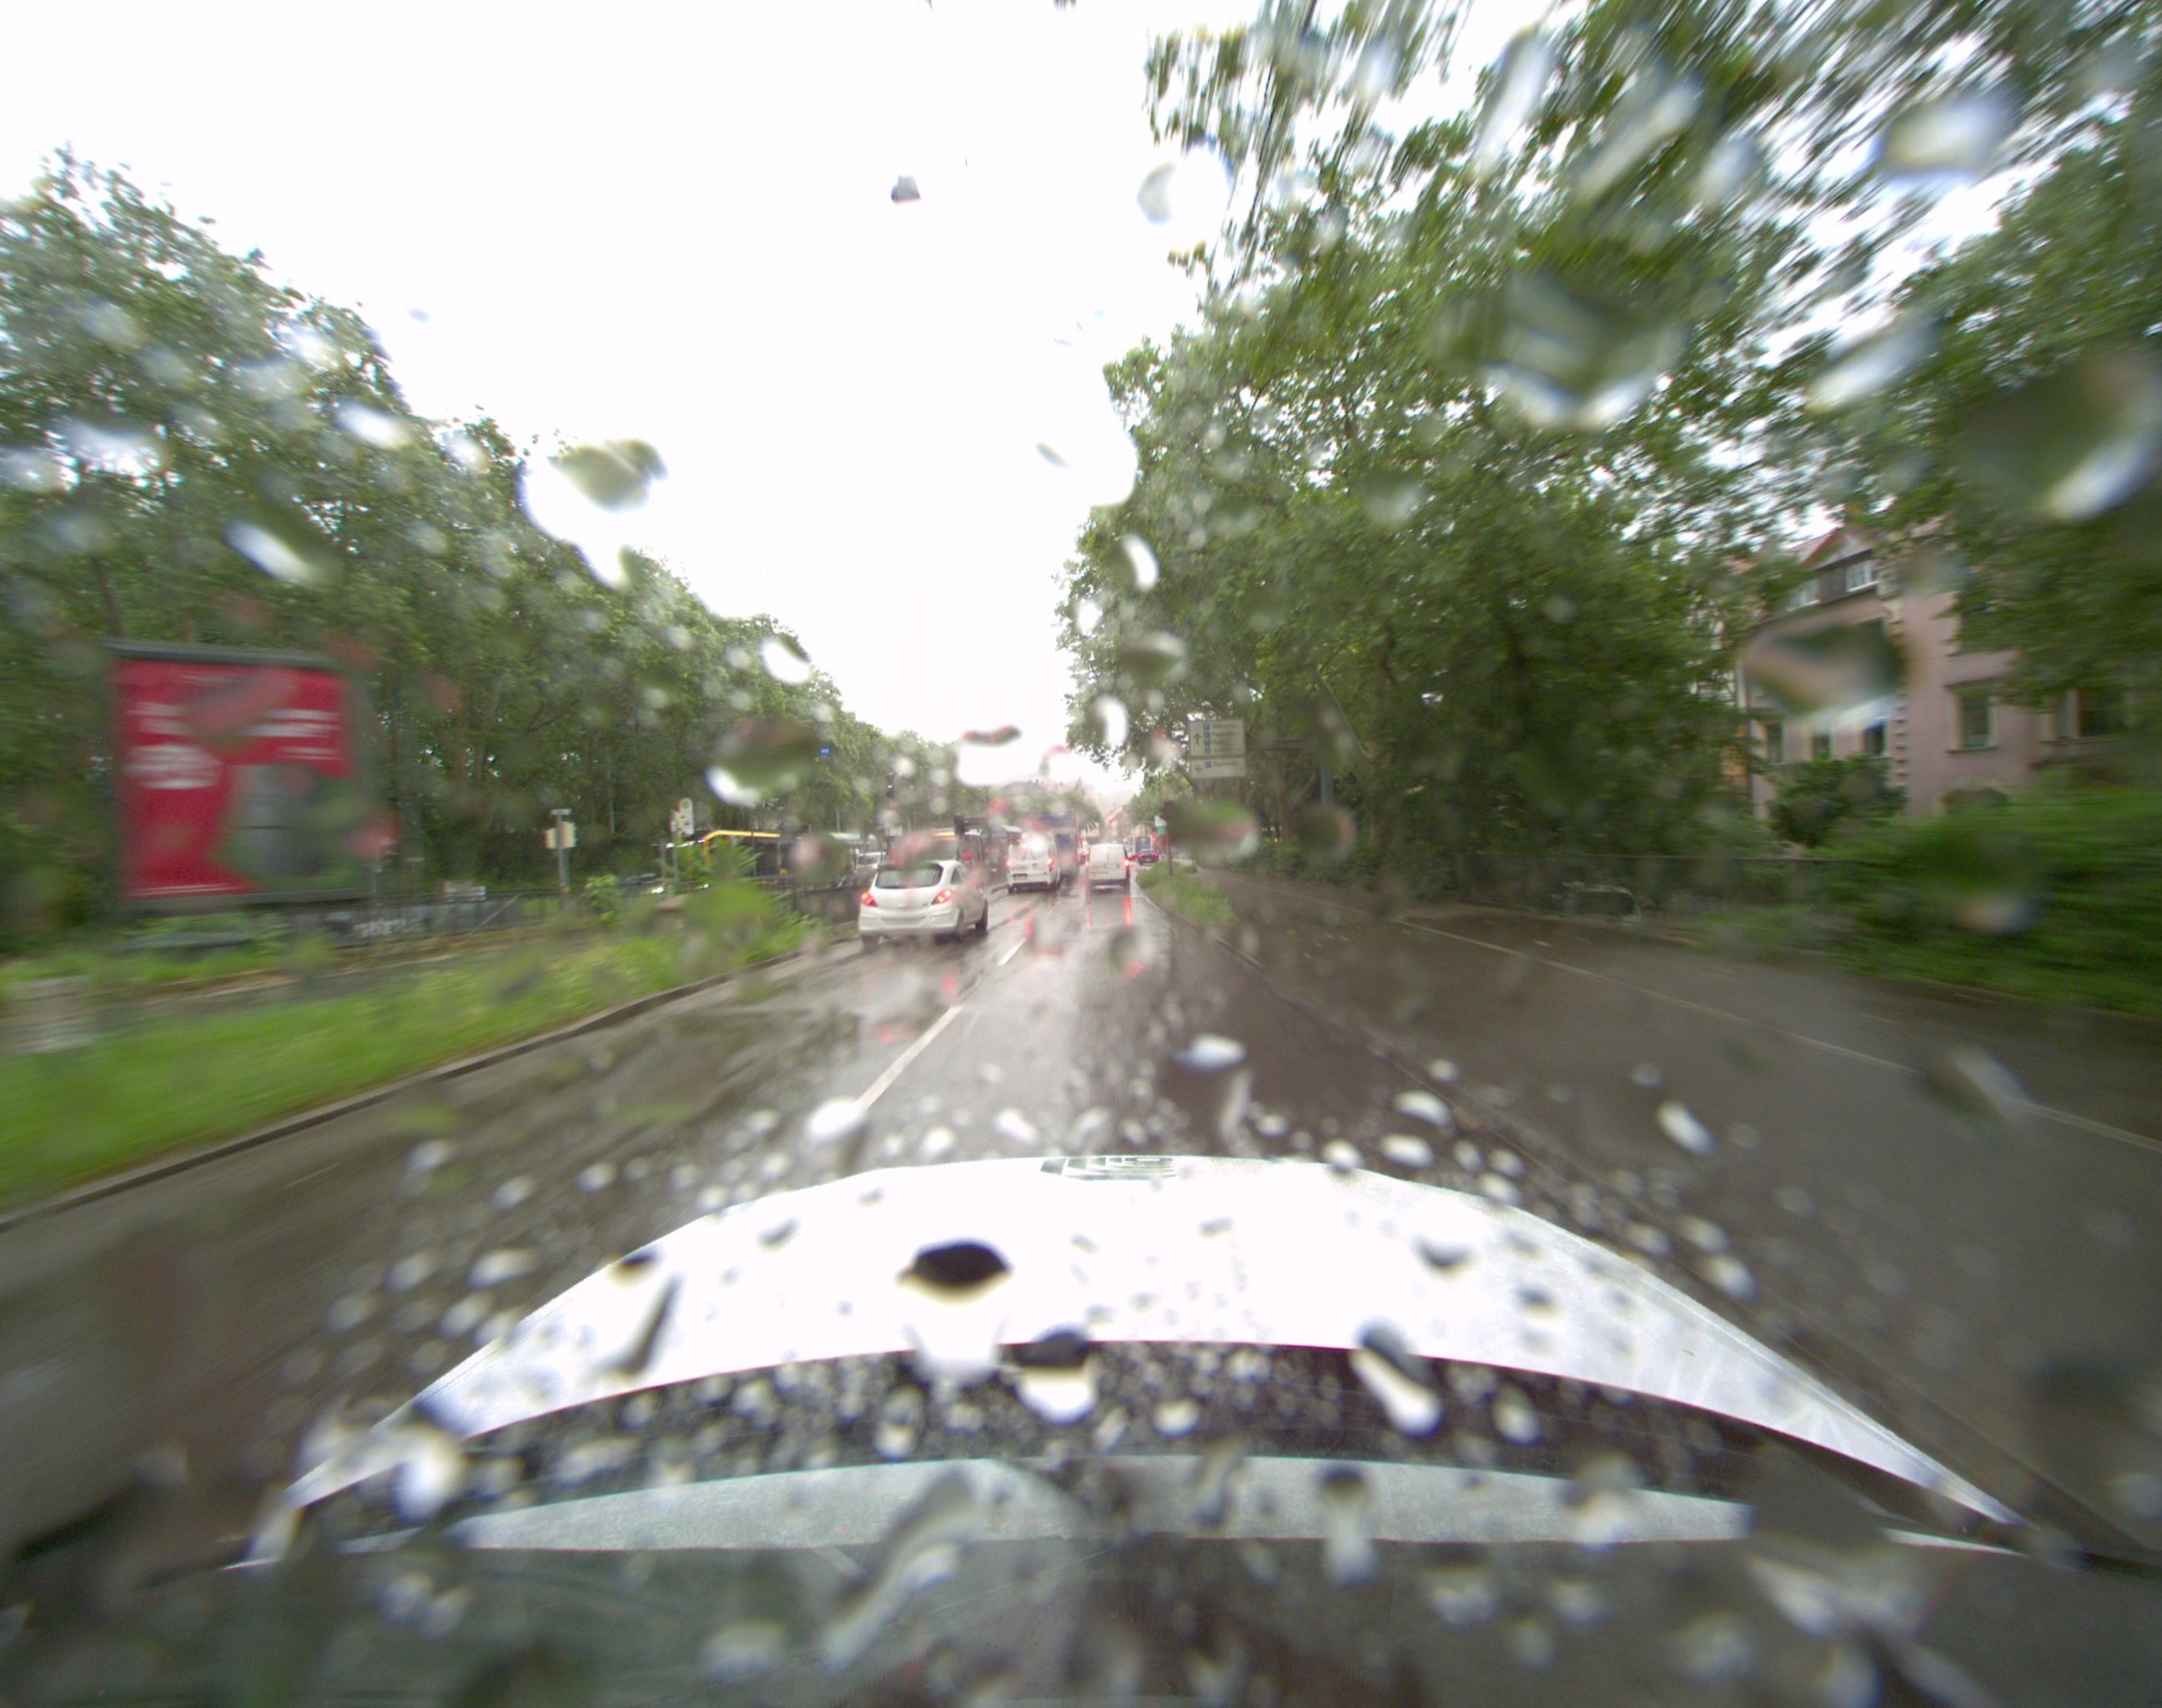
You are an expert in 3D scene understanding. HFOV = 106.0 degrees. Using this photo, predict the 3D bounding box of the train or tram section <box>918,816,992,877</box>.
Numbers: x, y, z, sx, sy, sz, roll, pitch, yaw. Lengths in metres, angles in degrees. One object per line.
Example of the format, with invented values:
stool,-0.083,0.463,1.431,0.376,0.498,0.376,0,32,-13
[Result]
train or tram section,-7.675,-0.522,50.802,2.951,3.285,8.363,-4,1,1

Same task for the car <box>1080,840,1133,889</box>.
car,1.018,0.389,32.522,1.951,1.777,3.571,-2,0,2

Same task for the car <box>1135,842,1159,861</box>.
car,6.087,-0.241,74.999,1.983,1.542,4.007,-3,1,6

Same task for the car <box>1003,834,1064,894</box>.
car,-1.901,0.393,34.382,1.986,2.262,5.291,-2,0,2

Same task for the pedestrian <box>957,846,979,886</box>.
pedestrian,-4.846,0.507,35.063,0.787,1.714,0.771,-1,-1,1

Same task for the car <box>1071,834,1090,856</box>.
car,0.000,-1.008,94.682,1.986,2.442,4.614,-1,0,2

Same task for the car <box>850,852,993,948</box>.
car,-2.777,0.752,15.033,1.719,1.479,3.807,-2,0,2

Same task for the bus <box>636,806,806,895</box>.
bus,-17.954,-0.188,42.039,3.019,3.838,12.248,-2,0,1

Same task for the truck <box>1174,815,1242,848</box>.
truck,22.239,-4.000,142.709,11.286,4.899,3.301,-4,1,12

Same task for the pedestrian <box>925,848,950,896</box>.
pedestrian,-5.375,0.669,30.485,0.713,1.744,0.751,-3,0,1

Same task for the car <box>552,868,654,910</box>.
car,-21.272,1.502,36.476,1.986,1.517,4.003,-4,1,2

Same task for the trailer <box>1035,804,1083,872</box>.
trailer,-1.305,-0.990,52.015,2.581,3.899,7.637,-2,1,1

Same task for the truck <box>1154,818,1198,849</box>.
truck,16.853,-3.623,143.882,7.108,4.899,3.301,-4,1,12

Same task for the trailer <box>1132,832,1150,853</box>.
trailer,7.252,-1.377,98.756,1.986,2.316,4.671,-2,0,2

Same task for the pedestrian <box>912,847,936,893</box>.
pedestrian,-6.109,0.612,31.752,0.675,1.738,0.808,-3,0,1

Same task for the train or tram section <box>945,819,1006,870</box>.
train or tram section,-7.502,-0.760,59.203,2.968,3.285,8.434,-4,1,1

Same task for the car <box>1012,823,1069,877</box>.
car,-2.026,-0.184,42.871,2.321,2.557,6.117,-2,0,2
